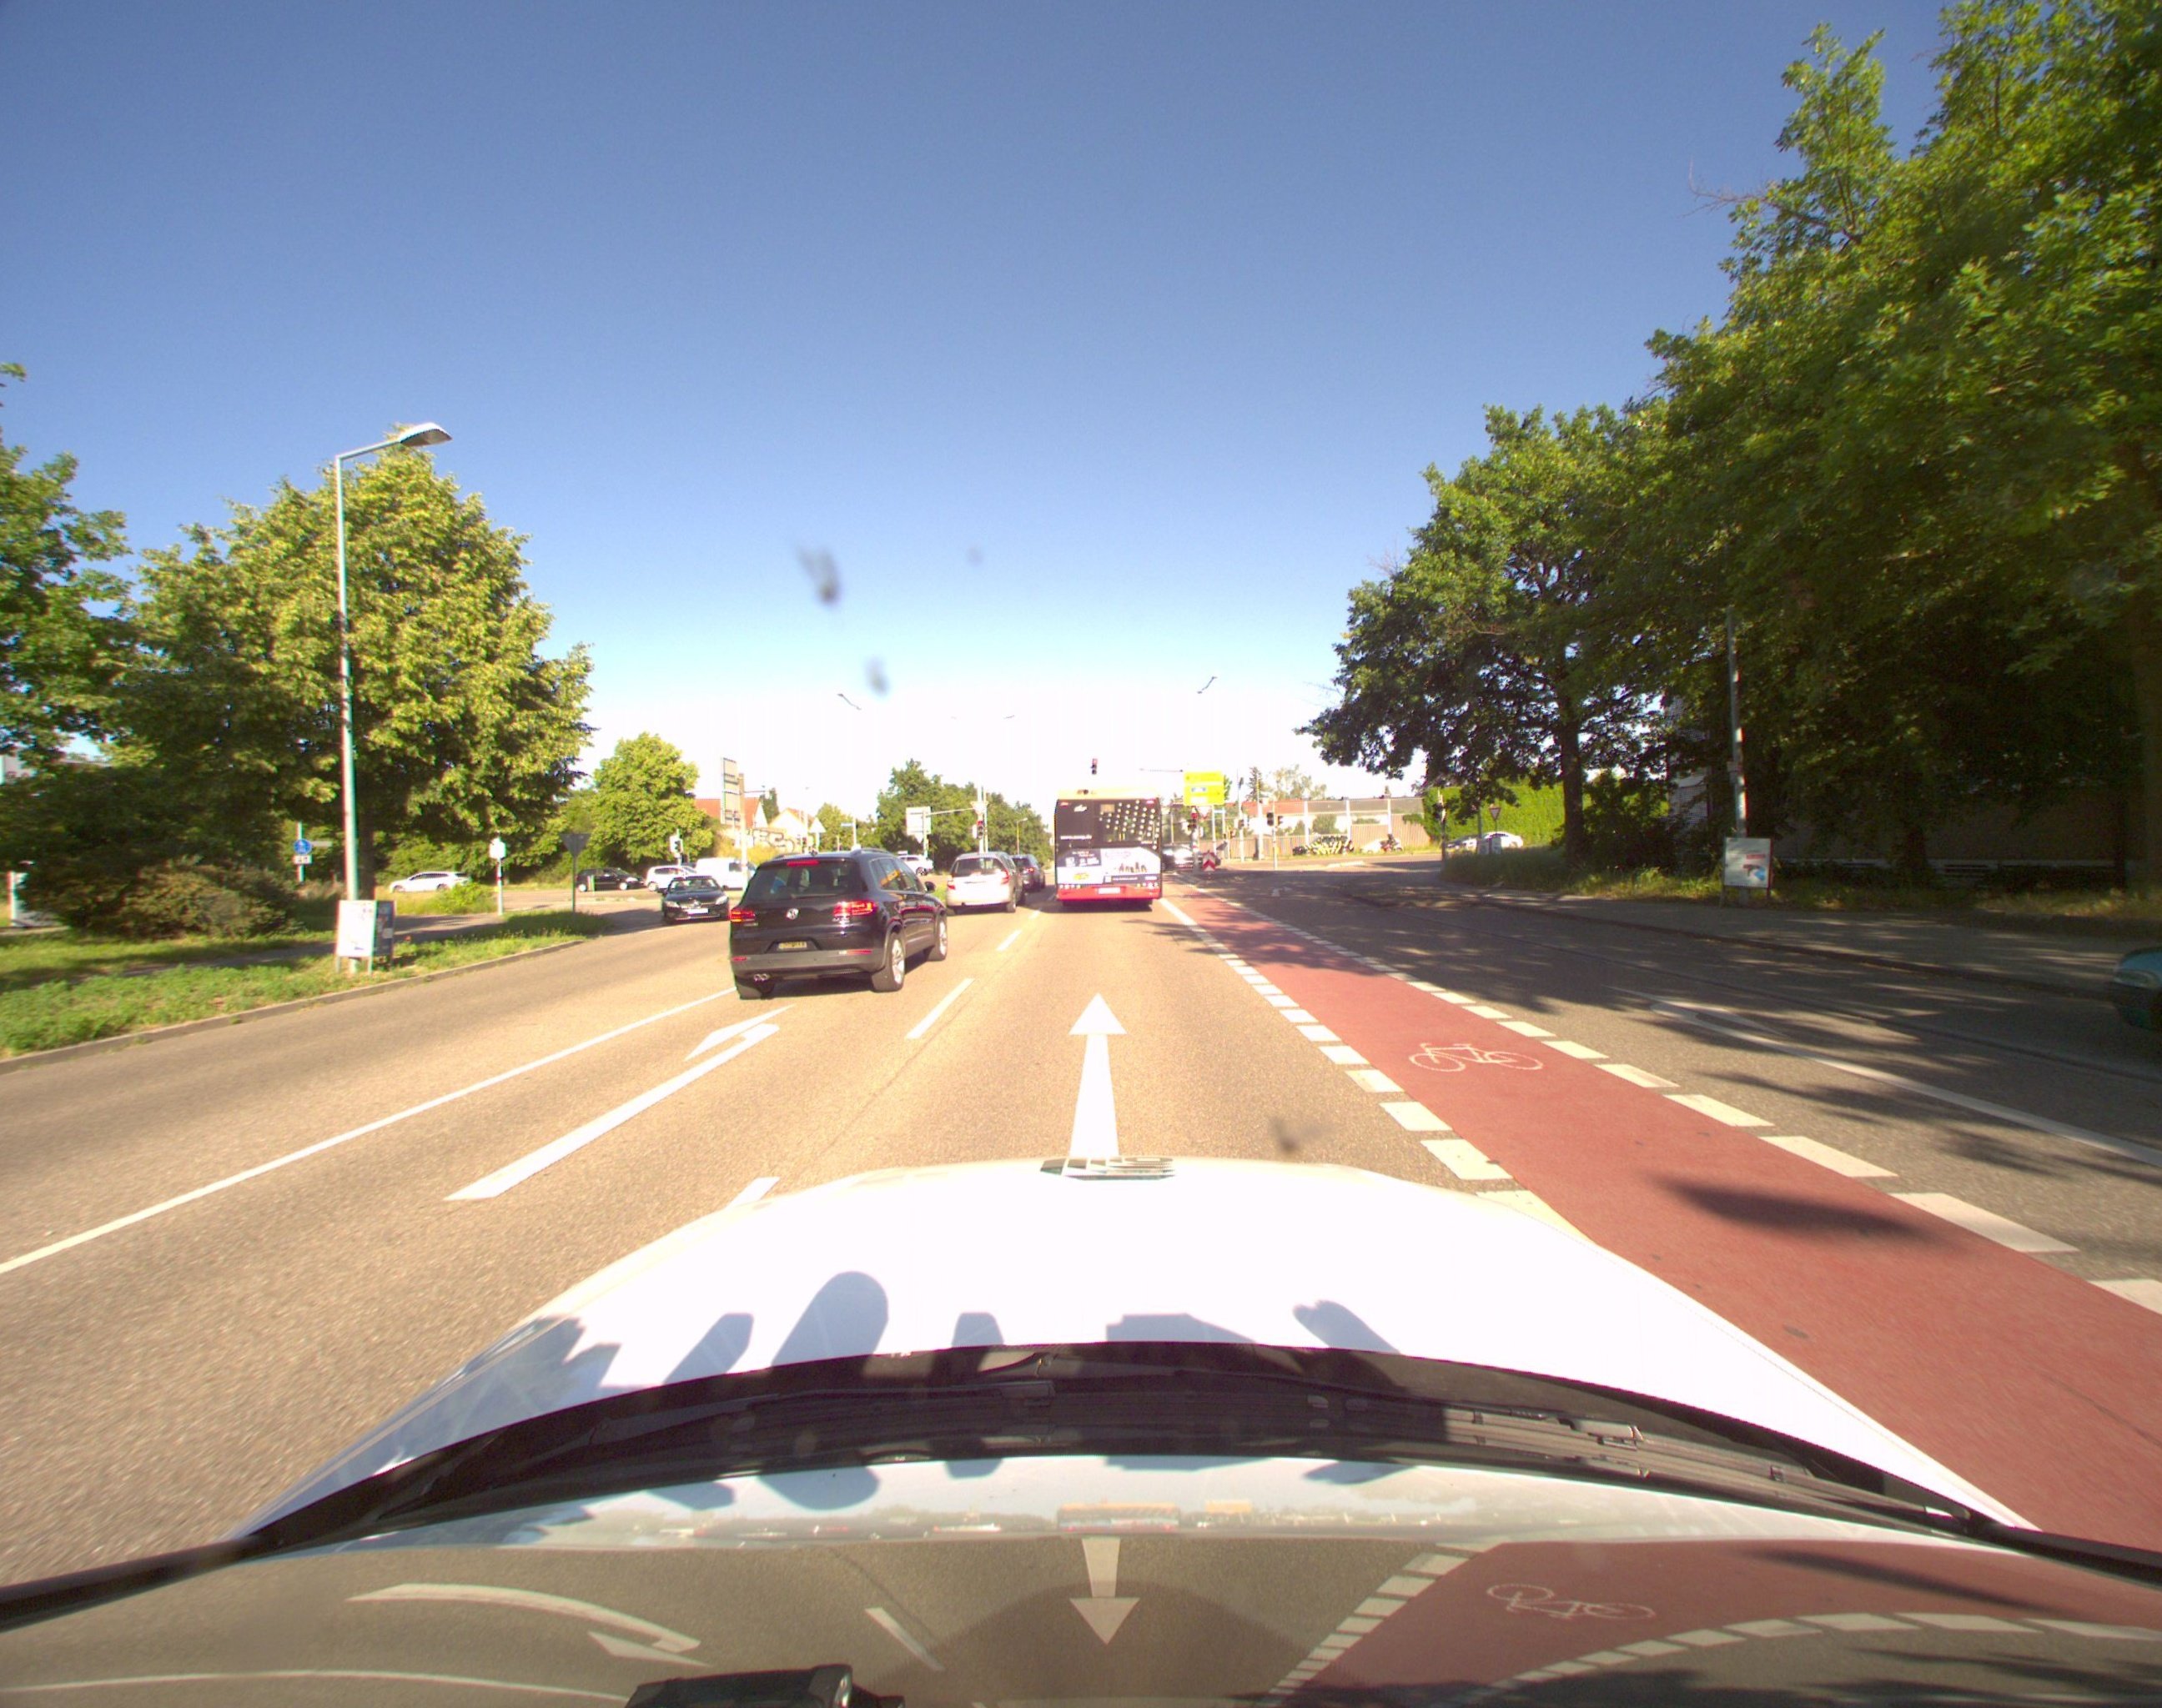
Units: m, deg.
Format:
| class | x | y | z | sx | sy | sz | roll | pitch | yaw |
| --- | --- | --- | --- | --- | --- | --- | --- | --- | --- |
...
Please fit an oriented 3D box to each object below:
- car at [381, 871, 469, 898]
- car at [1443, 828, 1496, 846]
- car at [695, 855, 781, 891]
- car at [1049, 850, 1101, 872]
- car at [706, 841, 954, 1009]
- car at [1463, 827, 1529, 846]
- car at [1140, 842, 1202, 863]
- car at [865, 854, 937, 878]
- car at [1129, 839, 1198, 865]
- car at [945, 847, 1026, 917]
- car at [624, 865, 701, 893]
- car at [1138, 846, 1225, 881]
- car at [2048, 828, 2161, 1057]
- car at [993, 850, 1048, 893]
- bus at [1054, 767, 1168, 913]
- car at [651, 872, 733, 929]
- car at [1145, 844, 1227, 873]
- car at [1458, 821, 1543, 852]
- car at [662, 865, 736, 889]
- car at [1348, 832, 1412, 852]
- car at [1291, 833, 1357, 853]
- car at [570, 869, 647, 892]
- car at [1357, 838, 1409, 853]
| class | x | y | z | sx | sy | sz | roll | pitch | yaw |
| --- | --- | --- | --- | --- | --- | --- | --- | --- | --- |
| car | -44.374 | 2.024 | 55.178 | 4.377 | 1.683 | 1.708 | -1 | -1 | -6 |
| car | 31.367 | -1.339 | 65.741 | 3.512 | 1.302 | 1.574 | -2 | 0 | -2 |
| car | -19.040 | 1.025 | 45.316 | 4.102 | 1.801 | 1.456 | -2 | -1 | -3 |
| car | -0.502 | 0.554 | 64.560 | 3.979 | 1.612 | 1.693 | -2 | 0 | -4 |
| car | -2.977 | 0.773 | 10.644 | 1.814 | 1.673 | 4.004 | -3 | -1 | 2 |
| car | 31.718 | -1.315 | 62.271 | 4.277 | 1.302 | 1.574 | -2 | 0 | -2 |
| car | 6.626 | -0.085 | 60.285 | 4.402 | 1.459 | 1.574 | -1 | -1 | -2 |
| car | -12.936 | 0.844 | 58.638 | 4.690 | 1.540 | 1.999 | -2 | 0 | -2 |
| car | 5.357 | -0.109 | 53.165 | 4.211 | 1.562 | 1.761 | -1 | -1 | -3 |
| car | -2.515 | 0.673 | 22.238 | 1.749 | 1.620 | 4.032 | -2 | 1 | -1 |
| car | -24.819 | 1.446 | 48.381 | 3.664 | 1.485 | 1.591 | -2 | -1 | -5 |
| car | 4.239 | 0.396 | 34.243 | 3.500 | 1.302 | 1.580 | -2 | 1 | 10 |
| car | 7.553 | 0.526 | 3.617 | 1.586 | 1.428 | 4.207 | -4 | 0 | 3 |
| car | -2.246 | 0.651 | 31.047 | 1.582 | 1.485 | 3.684 | -2 | -1 | 2 |
| bus | 0.902 | -0.364 | 24.929 | 2.586 | 3.334 | 11.989 | -1 | 0 | 2 |
| car | -12.041 | 1.364 | 25.085 | 2.005 | 1.403 | 4.546 | -5 | 1 | -28 |
| car | 6.066 | 0.238 | 47.445 | 4.452 | 1.440 | 1.681 | -3 | 0 | -3 |
| car | 18.235 | -0.755 | 35.393 | 3.412 | 1.296 | 1.449 | -1 | -1 | -24 |
| car | -24.191 | 1.456 | 51.659 | 3.842 | 1.385 | 1.679 | -1 | -1 | -7 |
| car | 22.761 | -0.896 | 62.127 | 4.277 | 1.399 | 1.574 | -2 | 0 | -2 |
| car | 17.090 | -0.787 | 57.426 | 4.148 | 1.302 | 1.574 | -1 | -1 | -2 |
| car | -29.459 | 1.663 | 50.897 | 3.842 | 1.313 | 1.504 | -1 | -1 | -7 |
| car | 25.470 | -0.718 | 68.776 | 3.746 | 1.136 | 1.574 | -2 | 0 | -2 |
